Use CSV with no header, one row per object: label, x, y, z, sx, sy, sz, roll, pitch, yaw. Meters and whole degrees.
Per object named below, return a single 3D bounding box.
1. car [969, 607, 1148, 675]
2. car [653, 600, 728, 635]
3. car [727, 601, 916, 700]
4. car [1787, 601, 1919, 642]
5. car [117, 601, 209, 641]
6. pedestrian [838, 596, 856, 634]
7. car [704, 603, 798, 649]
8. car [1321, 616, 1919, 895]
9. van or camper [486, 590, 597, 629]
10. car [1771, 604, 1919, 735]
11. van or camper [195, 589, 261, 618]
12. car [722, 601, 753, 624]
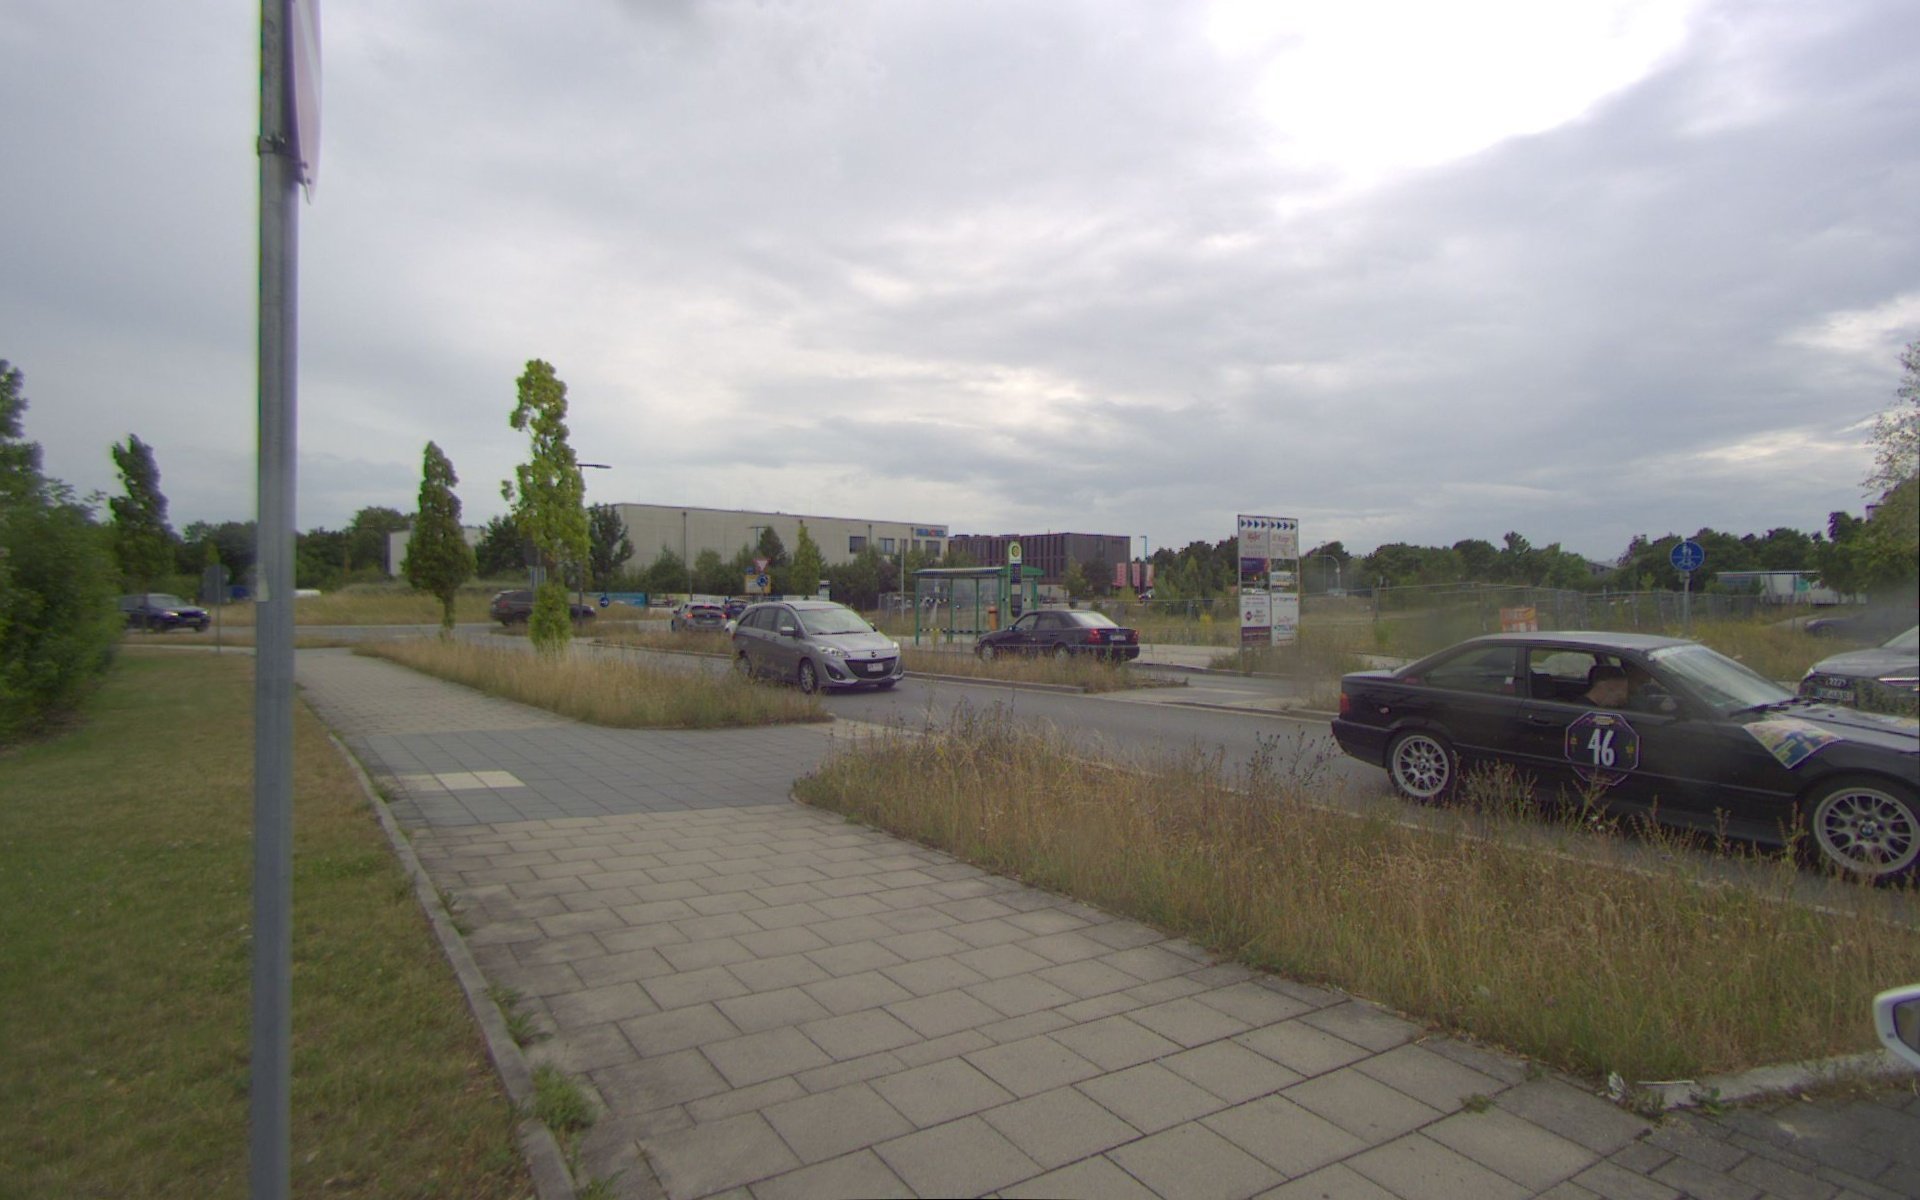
car,2.233,0.906,23.864,1.775,1.414,4.325,1,0,-37
car,-11.594,0.699,43.018,1.703,1.361,4.020,0,1,-38
car,-2.737,0.832,18.956,1.802,1.584,4.359,-1,1,-34
car,38.194,0.893,42.262,1.983,1.578,4.967,1,1,-39
car,-34.693,0.881,43.714,3.930,1.662,1.890,0,0,31
pedestrian,-5.167,0.676,46.025,0.729,1.745,0.650,1,1,-2
car,-7.674,0.923,36.683,1.743,1.500,4.011,1,1,-38
car,4.952,0.866,7.207,1.741,1.405,4.260,0,0,-34
van or camper,-19.990,0.436,48.054,4.537,1.772,1.976,1,1,-42
car,13.051,0.818,12.792,4.240,1.486,1.795,0,1,-7
van or camper,-50.745,0.211,69.748,1.950,1.916,4.828,0,0,-14
car,-14.436,0.765,65.038,1.690,1.361,3.950,0,1,-16
